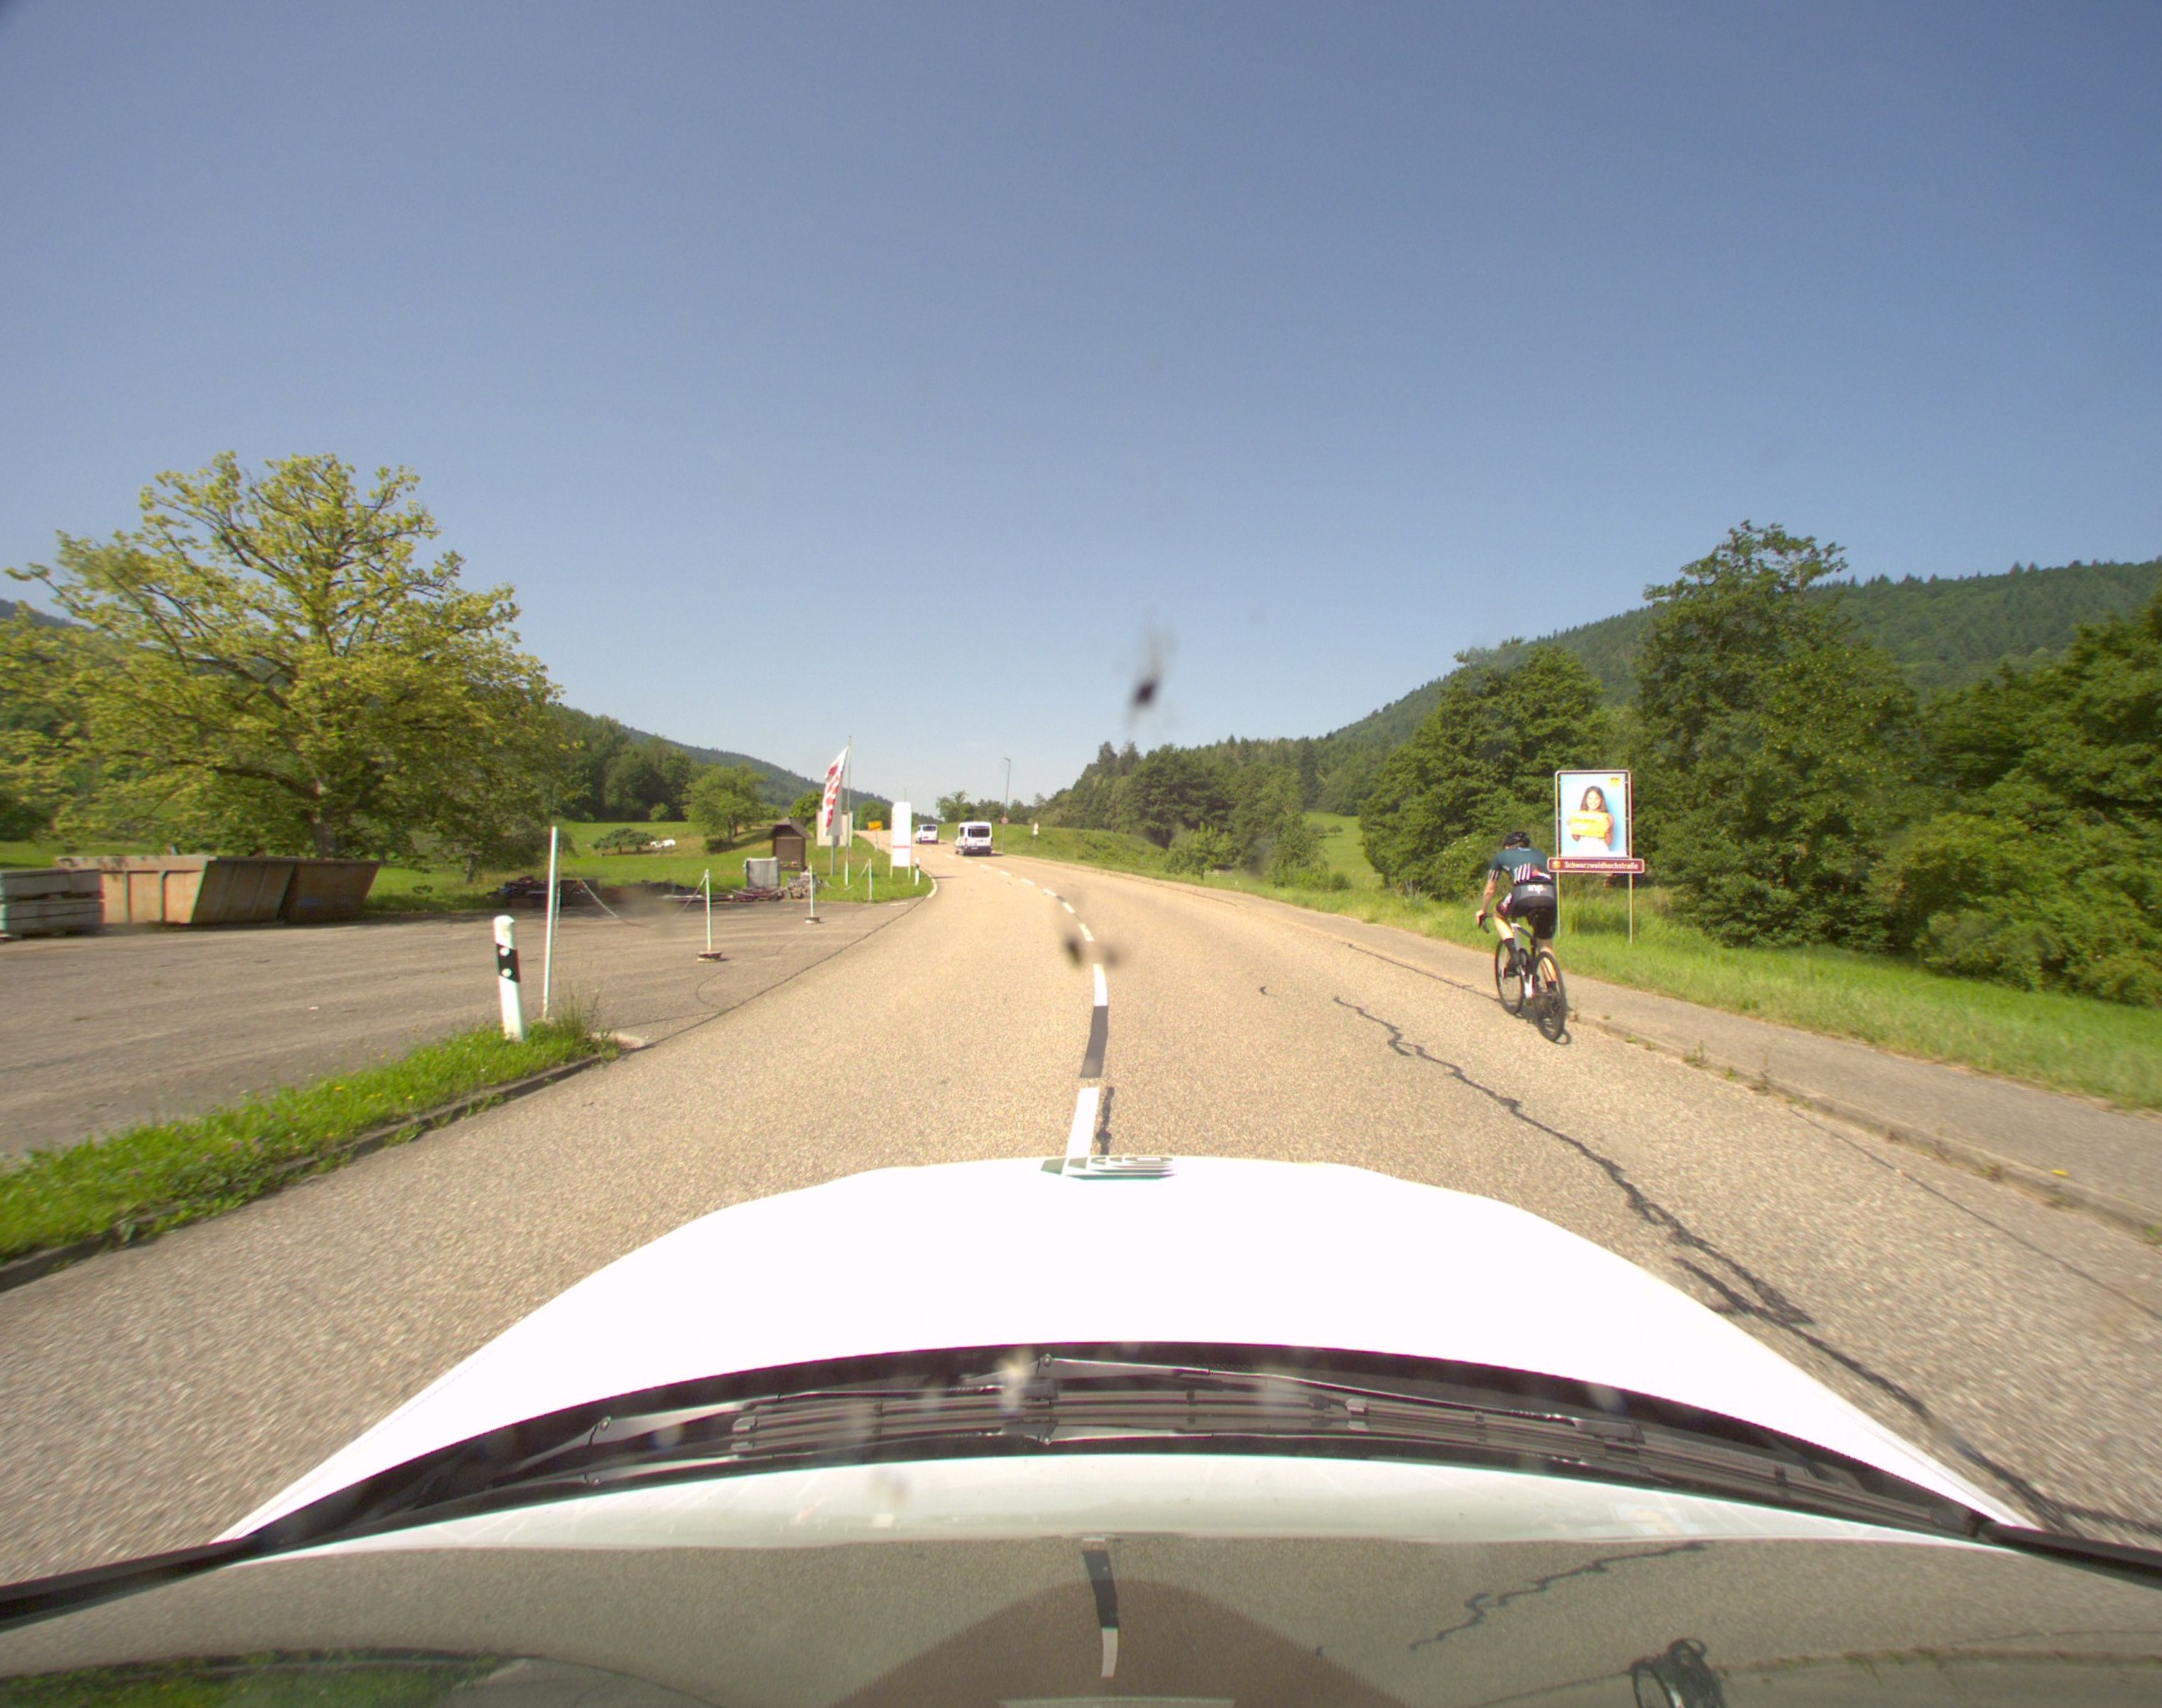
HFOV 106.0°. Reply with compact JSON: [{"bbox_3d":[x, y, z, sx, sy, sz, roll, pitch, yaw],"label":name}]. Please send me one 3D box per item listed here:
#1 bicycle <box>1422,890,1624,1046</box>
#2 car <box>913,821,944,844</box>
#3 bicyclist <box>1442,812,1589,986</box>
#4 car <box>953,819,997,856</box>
[{"bbox_3d":[3.708,0.887,7.052,0.578,1.035,1.989,-3,0,-2],"label":"bicycle"},{"bbox_3d":[-16.042,-2.223,85.523,2.231,2.286,4.949,-3,1,-21],"label":"car"},{"bbox_3d":[3.681,0.352,6.994,0.578,1.342,1.144,-3,0,-2],"label":"bicyclist"},{"bbox_3d":[-7.828,-1.172,59.540,2.229,2.525,4.954,-3,1,-18],"label":"car"}]
